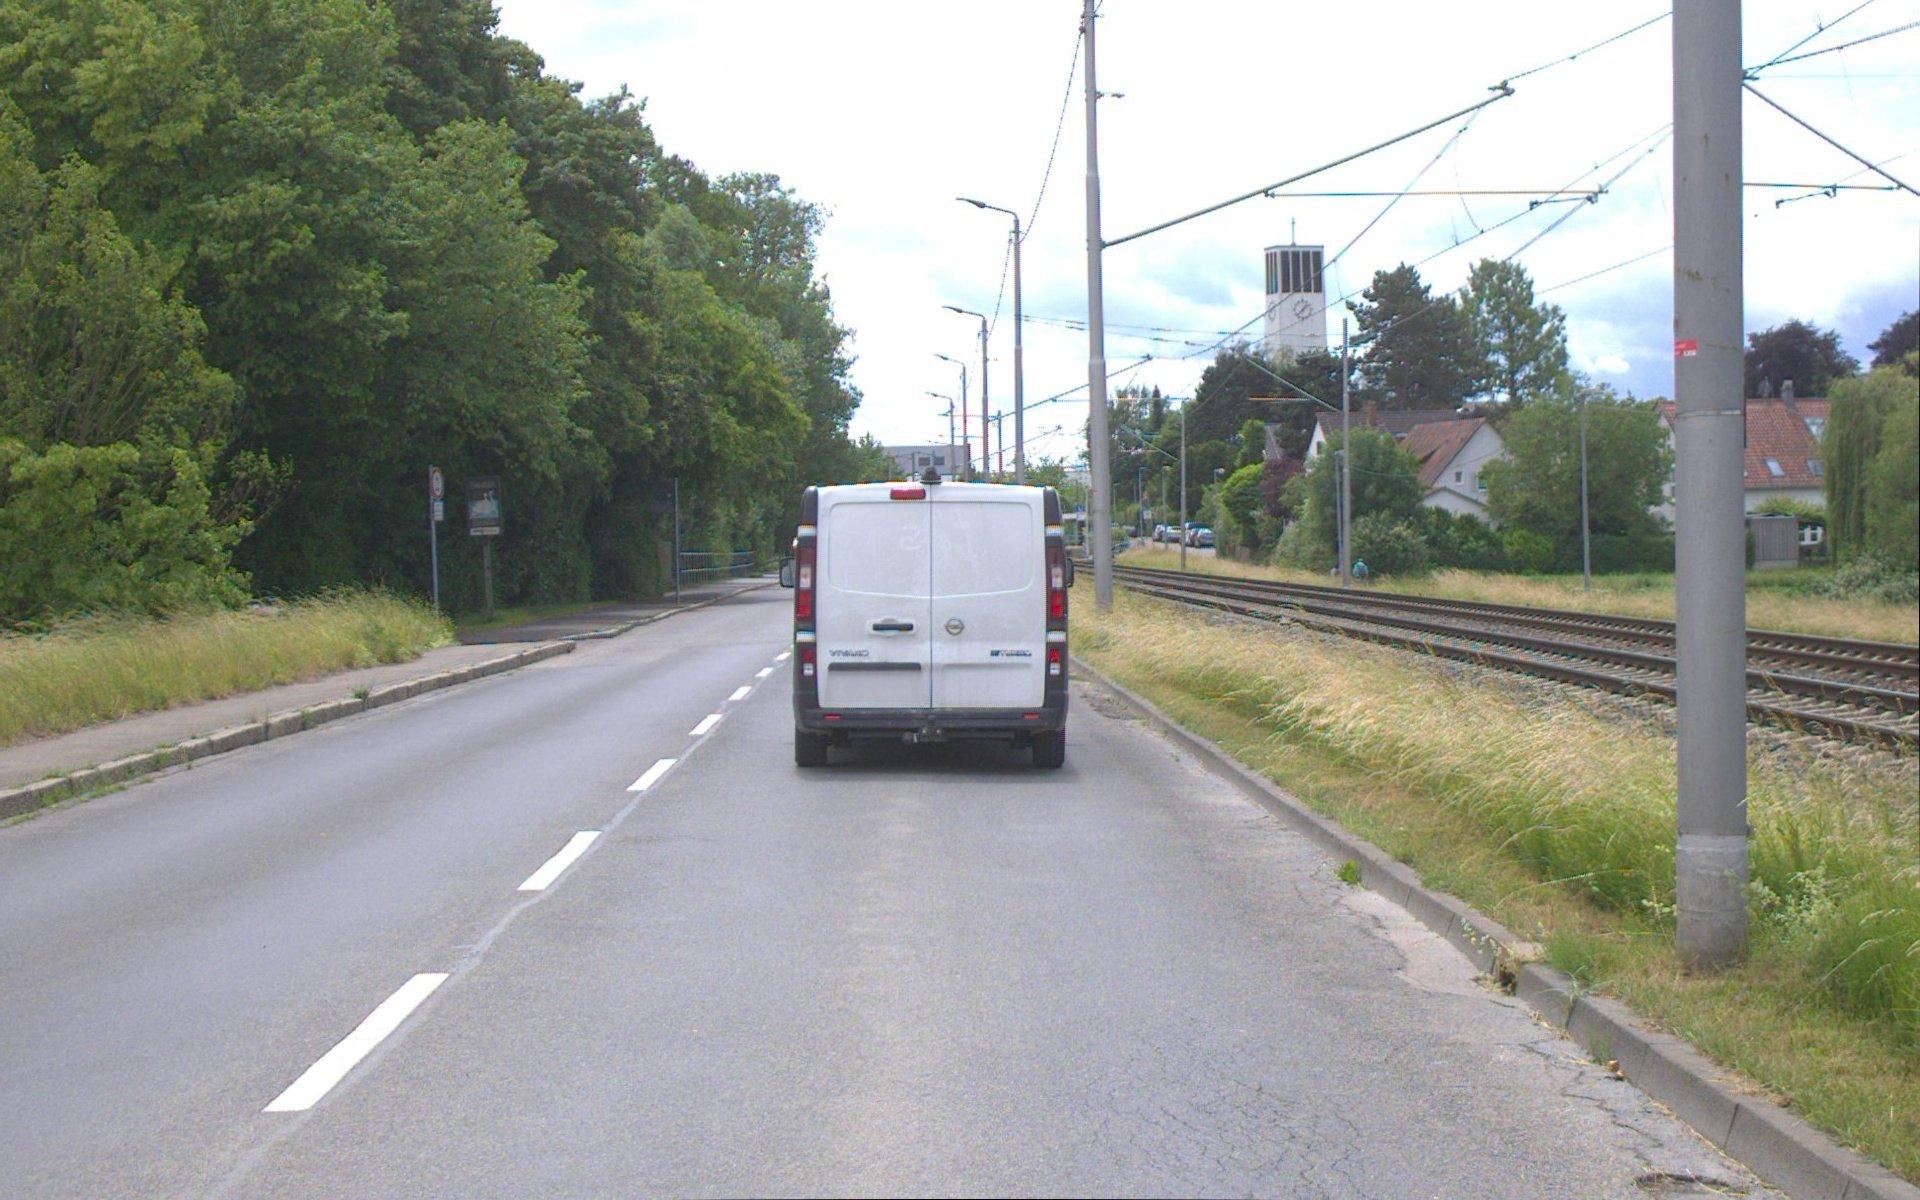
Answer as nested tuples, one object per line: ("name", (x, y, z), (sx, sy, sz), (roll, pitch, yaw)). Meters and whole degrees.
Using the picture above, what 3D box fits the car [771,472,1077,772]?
("car", (-0.298, 0.132, 24.438), (1.993, 1.950, 4.000), (0, 0, -2))

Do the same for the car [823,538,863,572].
("car", (-6.036, -2.330, 176.768), (1.993, 1.711, 4.124), (-1, 1, -2))

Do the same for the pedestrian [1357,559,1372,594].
("pedestrian", (17.144, -1.004, 145.848), (0.526, 1.501, 0.657), (-1, 1, -1))

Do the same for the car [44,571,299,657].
("car", (-13.766, 0.234, 60.154), (3.987, 1.294, 1.745), (-3, 1, 1))
